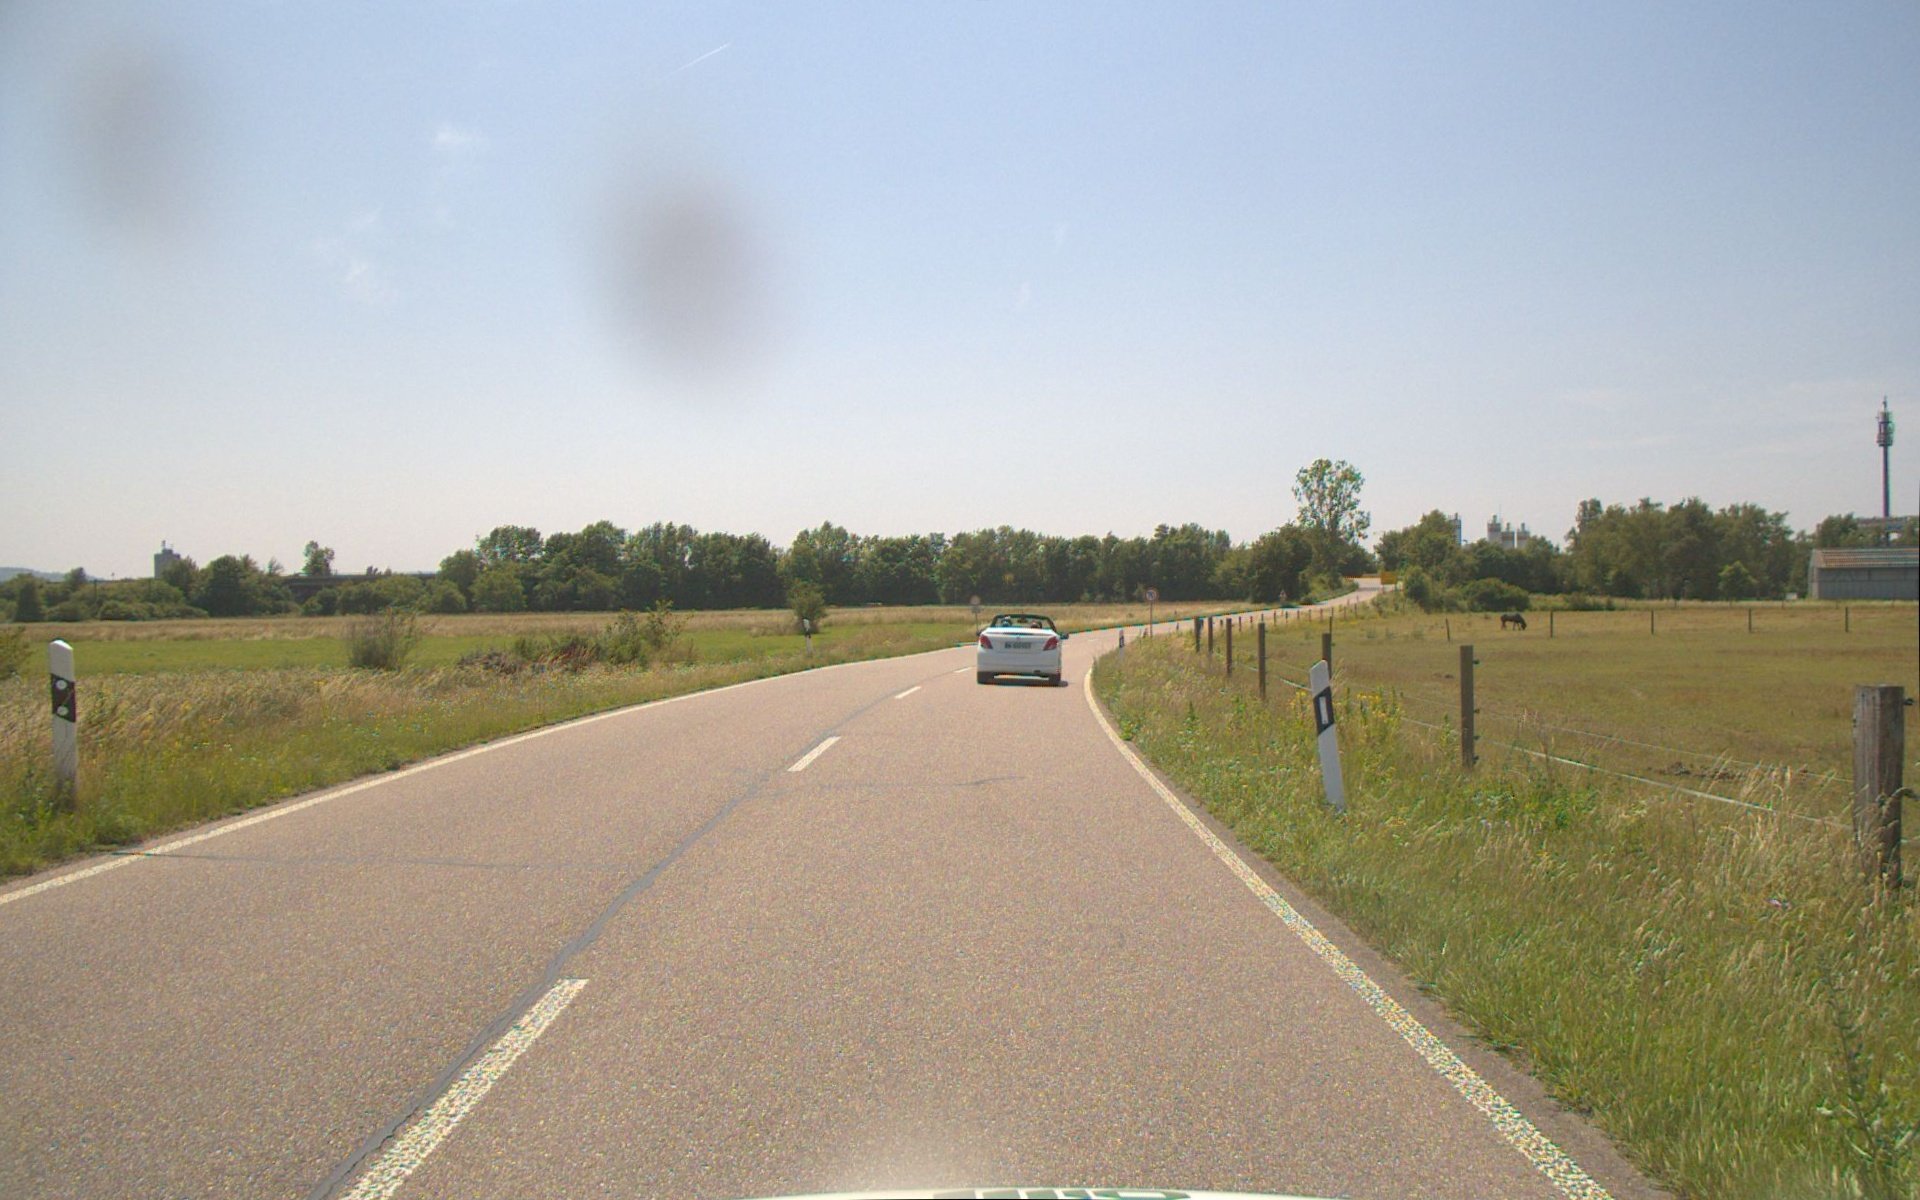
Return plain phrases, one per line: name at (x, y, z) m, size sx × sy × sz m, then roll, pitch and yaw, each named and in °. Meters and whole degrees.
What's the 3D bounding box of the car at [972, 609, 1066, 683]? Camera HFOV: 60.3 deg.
car at (1.258, 0.921, 34.279) m, size 1.812 × 1.403 × 4.001 m, roll 1°, pitch -1°, yaw 3°
